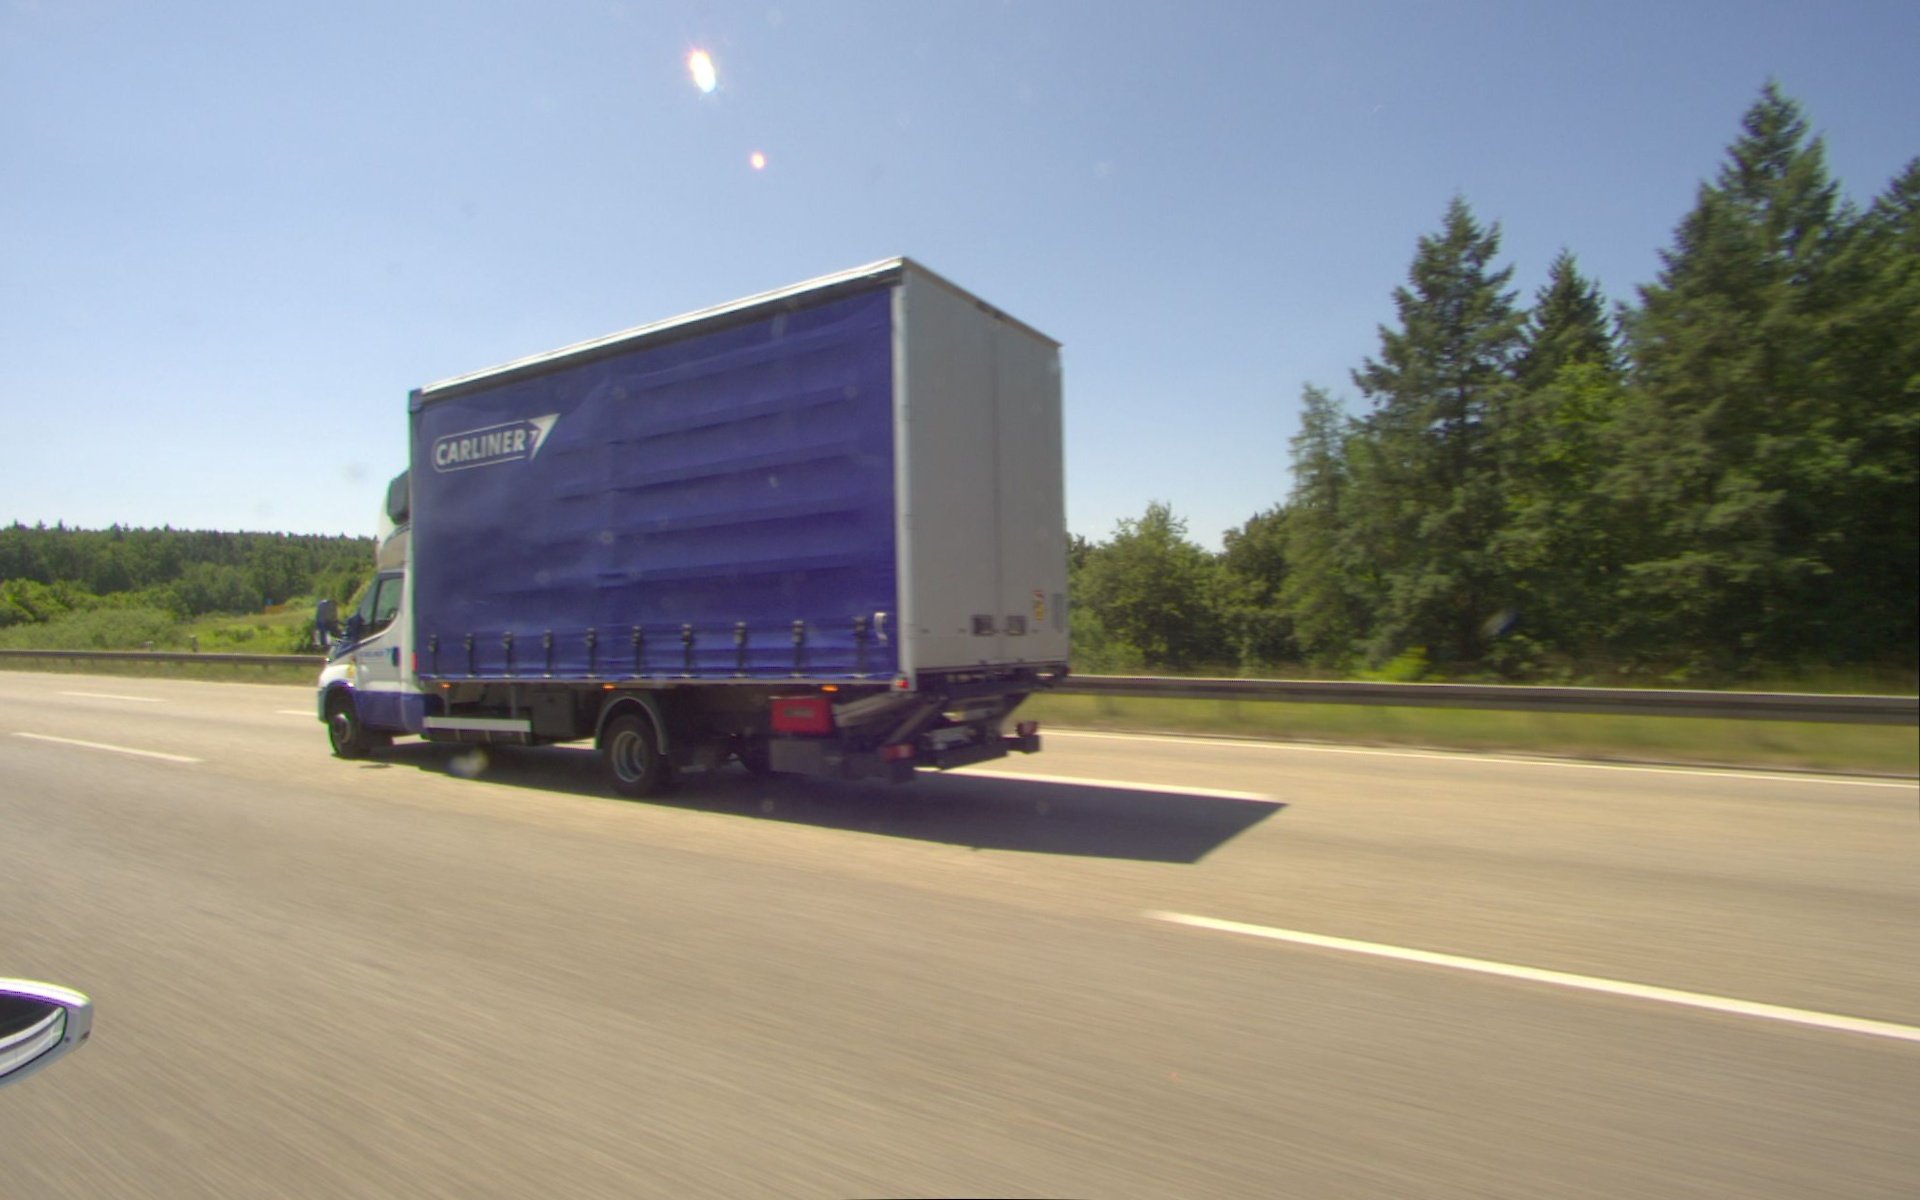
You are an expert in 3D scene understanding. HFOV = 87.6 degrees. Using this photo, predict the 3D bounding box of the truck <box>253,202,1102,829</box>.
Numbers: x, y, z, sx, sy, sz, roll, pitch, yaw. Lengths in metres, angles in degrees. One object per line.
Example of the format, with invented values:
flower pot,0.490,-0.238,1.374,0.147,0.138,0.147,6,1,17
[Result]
truck,-3.506,-0.441,10.414,9.600,4.181,2.779,-1,-2,32
